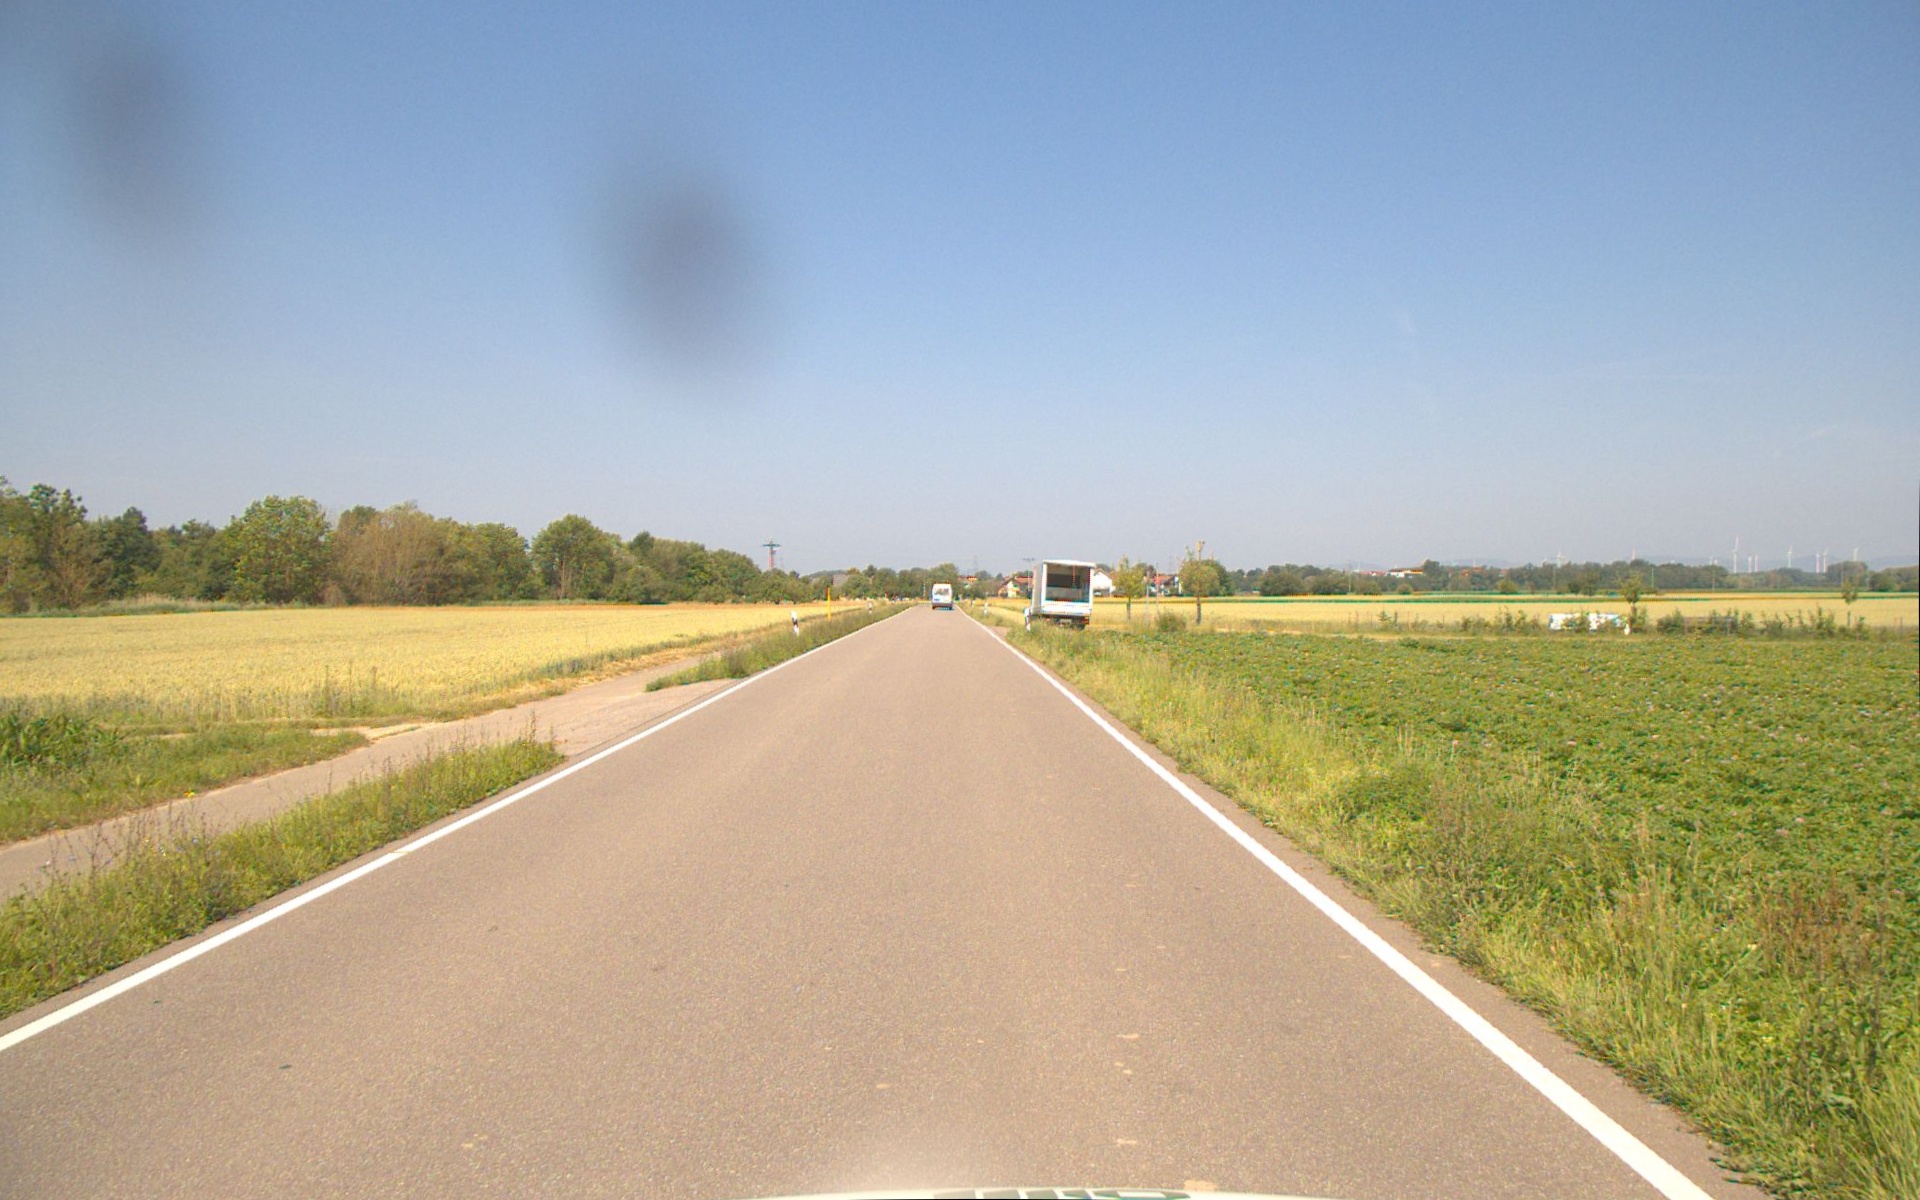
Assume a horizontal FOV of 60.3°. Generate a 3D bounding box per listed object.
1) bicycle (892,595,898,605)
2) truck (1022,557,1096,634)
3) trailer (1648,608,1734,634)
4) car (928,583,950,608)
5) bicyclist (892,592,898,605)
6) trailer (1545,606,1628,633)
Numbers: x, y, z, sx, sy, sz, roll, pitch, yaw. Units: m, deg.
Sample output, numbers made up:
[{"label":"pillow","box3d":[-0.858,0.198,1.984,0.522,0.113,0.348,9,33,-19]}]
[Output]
[{"label":"bicycle","box3d":[-8.895,0.023,225.302,0.744,1.257,2.393,-2,0,-1]},{"label":"truck","box3d":[4.098,-0.177,69.786,2.289,2.993,7.005,3,0,-3]},{"label":"trailer","box3d":[35.141,0.999,79.559,3.462,1.210,1.665,1,0,11]},{"label":"car","box3d":[-2.068,-0.425,164.396,2.064,2.344,5.494,1,0,-1]},{"label":"bicyclist","box3d":[-8.900,-0.205,225.329,0.744,1.702,1.088,-2,0,-1]},{"label":"trailer","box3d":[30.570,0.928,80.793,3.508,1.210,1.665,1,0,11]}]
